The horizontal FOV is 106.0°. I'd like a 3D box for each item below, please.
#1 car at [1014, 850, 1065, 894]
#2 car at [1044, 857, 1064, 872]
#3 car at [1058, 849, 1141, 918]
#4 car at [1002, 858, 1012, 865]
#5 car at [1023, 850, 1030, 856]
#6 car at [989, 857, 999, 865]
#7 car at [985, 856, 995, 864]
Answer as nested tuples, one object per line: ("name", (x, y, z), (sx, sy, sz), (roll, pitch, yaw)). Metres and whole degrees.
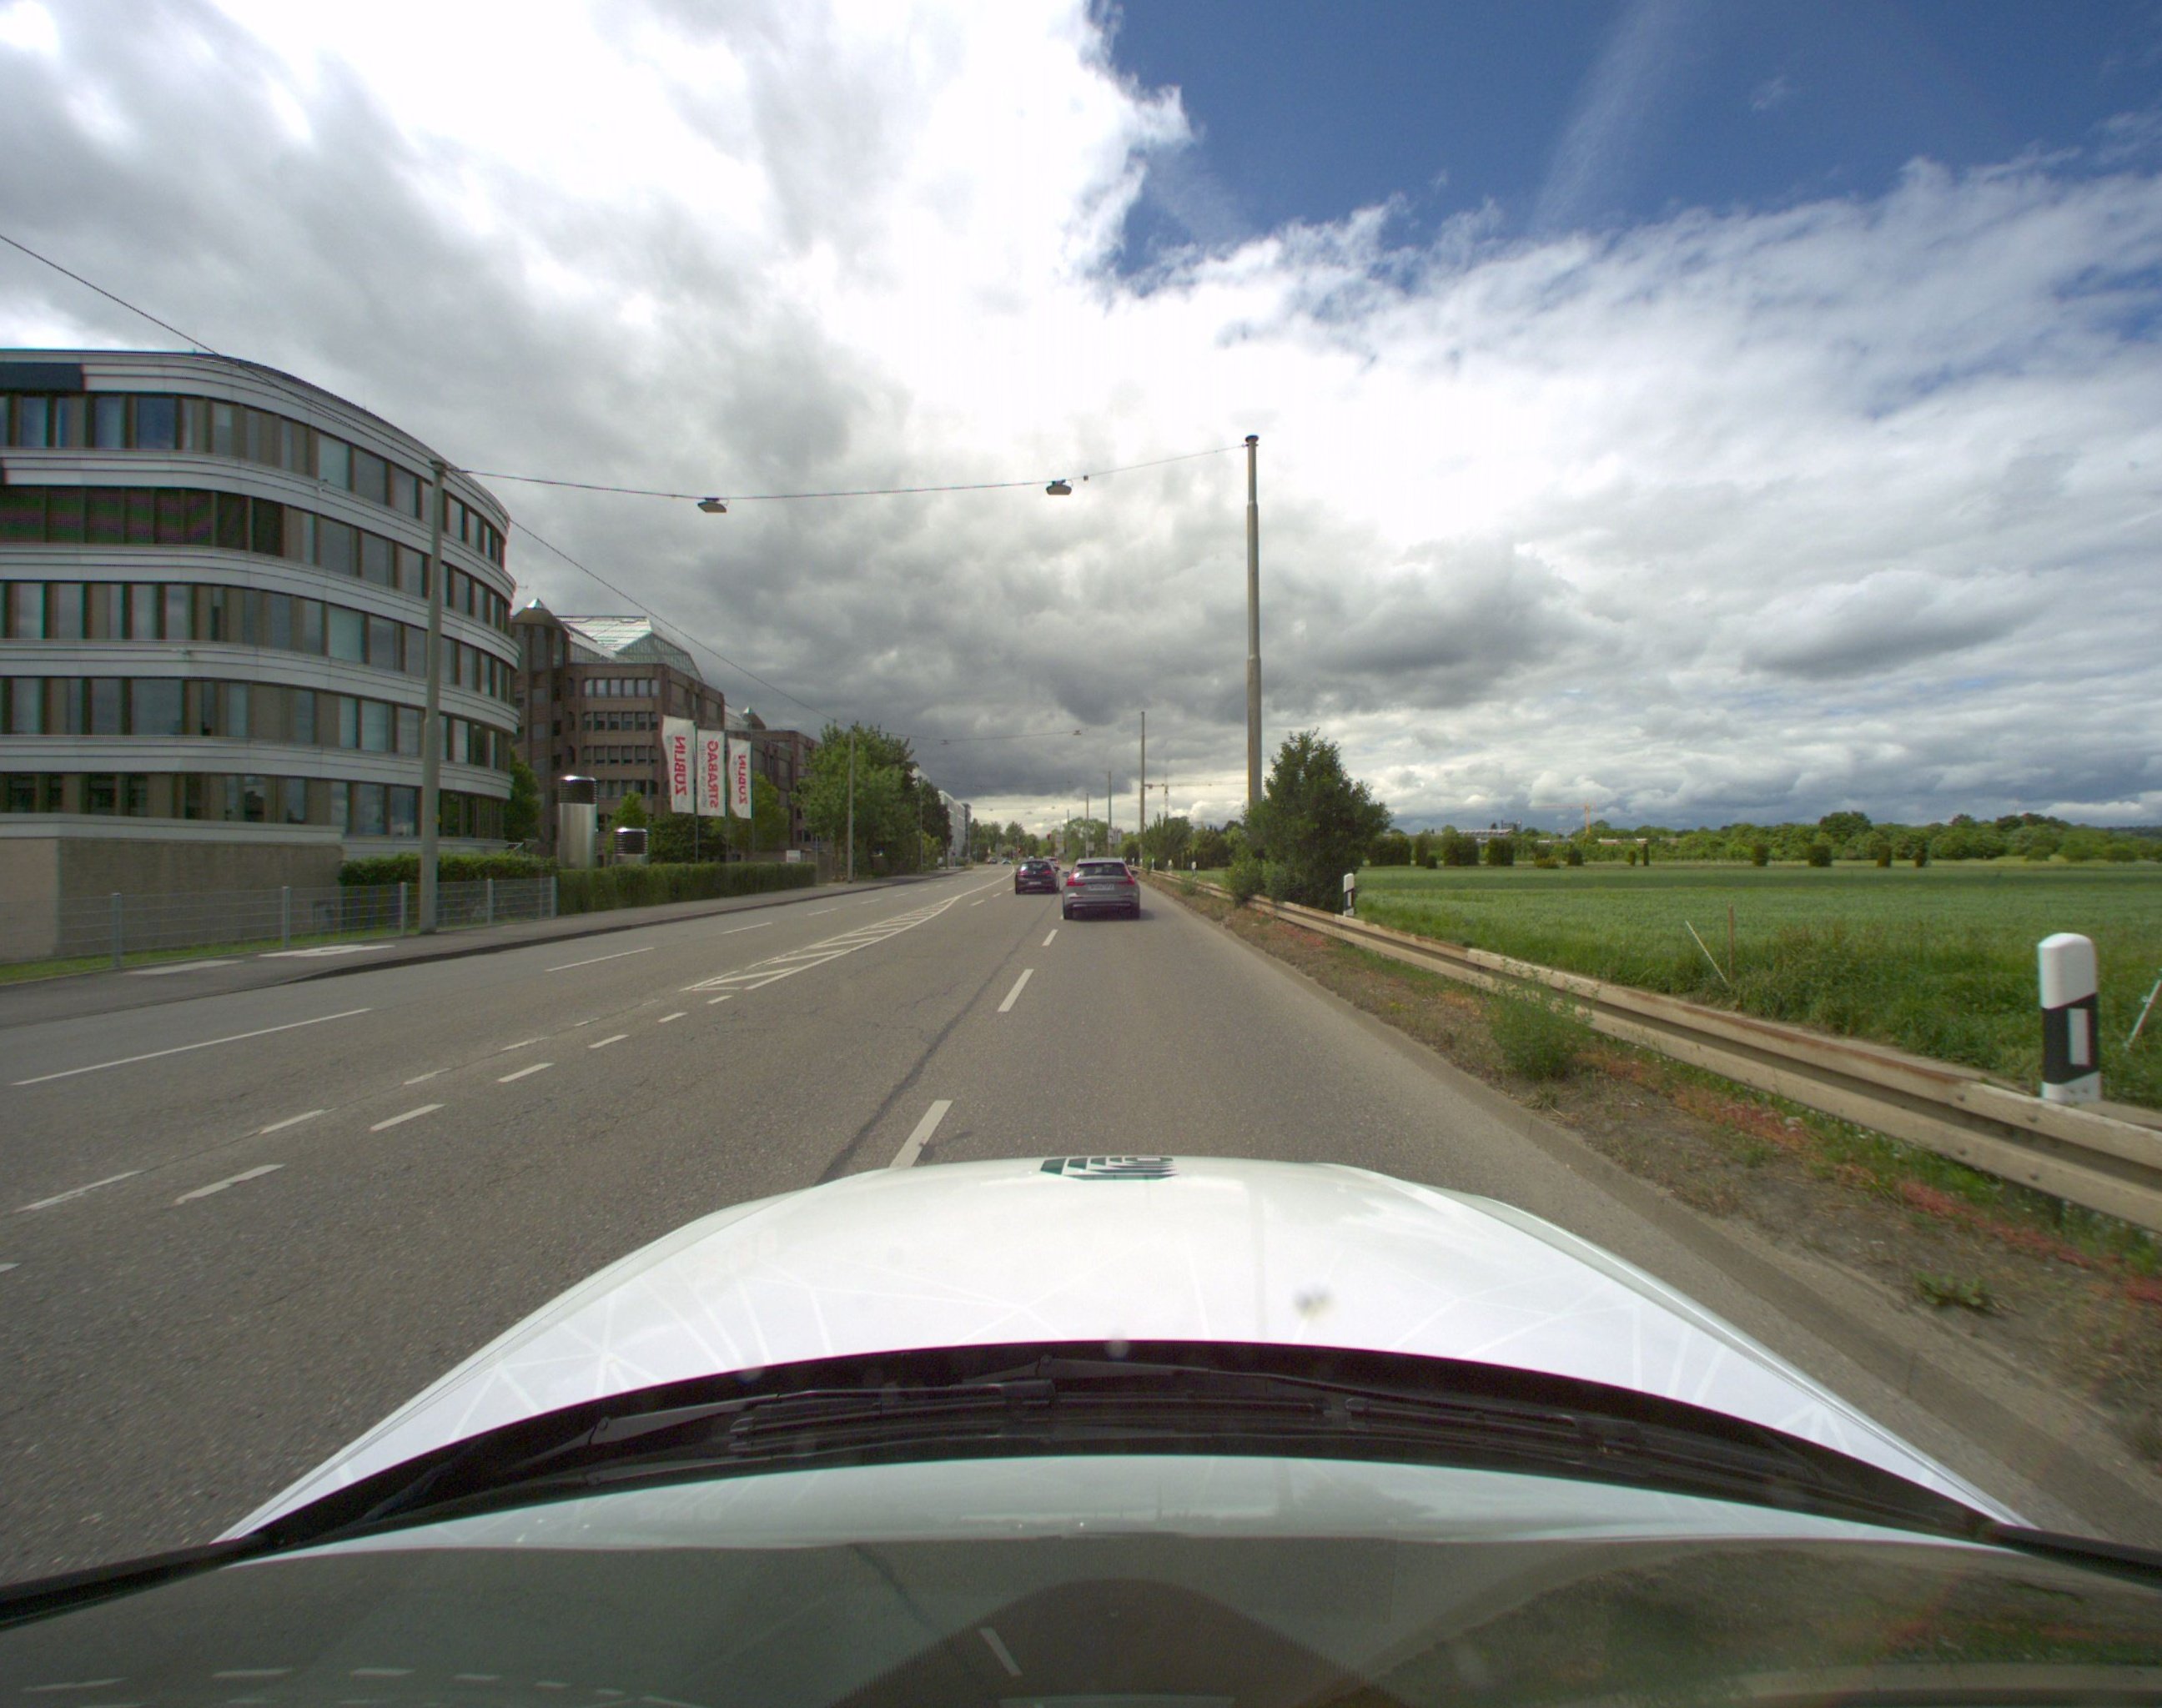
("car", (-1.697, 0.753, 34.891), (1.988, 1.717, 3.998), (2, -1, -1))
("car", (-3.091, 1.253, 94.206), (1.987, 1.695, 4.000), (2, -1, 1))
("car", (0.508, 0.717, 20.590), (1.888, 1.554, 4.002), (0, -1, 2))
("car", (-16.666, 1.641, 183.446), (1.876, 1.520, 3.998), (2, -1, -1))
("car", (-16.138, -0.209, 240.298), (1.945, 1.750, 4.382), (2, -1, -4))
("car", (-21.449, 1.731, 201.031), (1.876, 1.717, 3.998), (2, -1, -1))
("car", (-20.658, 1.461, 185.240), (1.876, 1.717, 3.998), (2, -1, -1))
